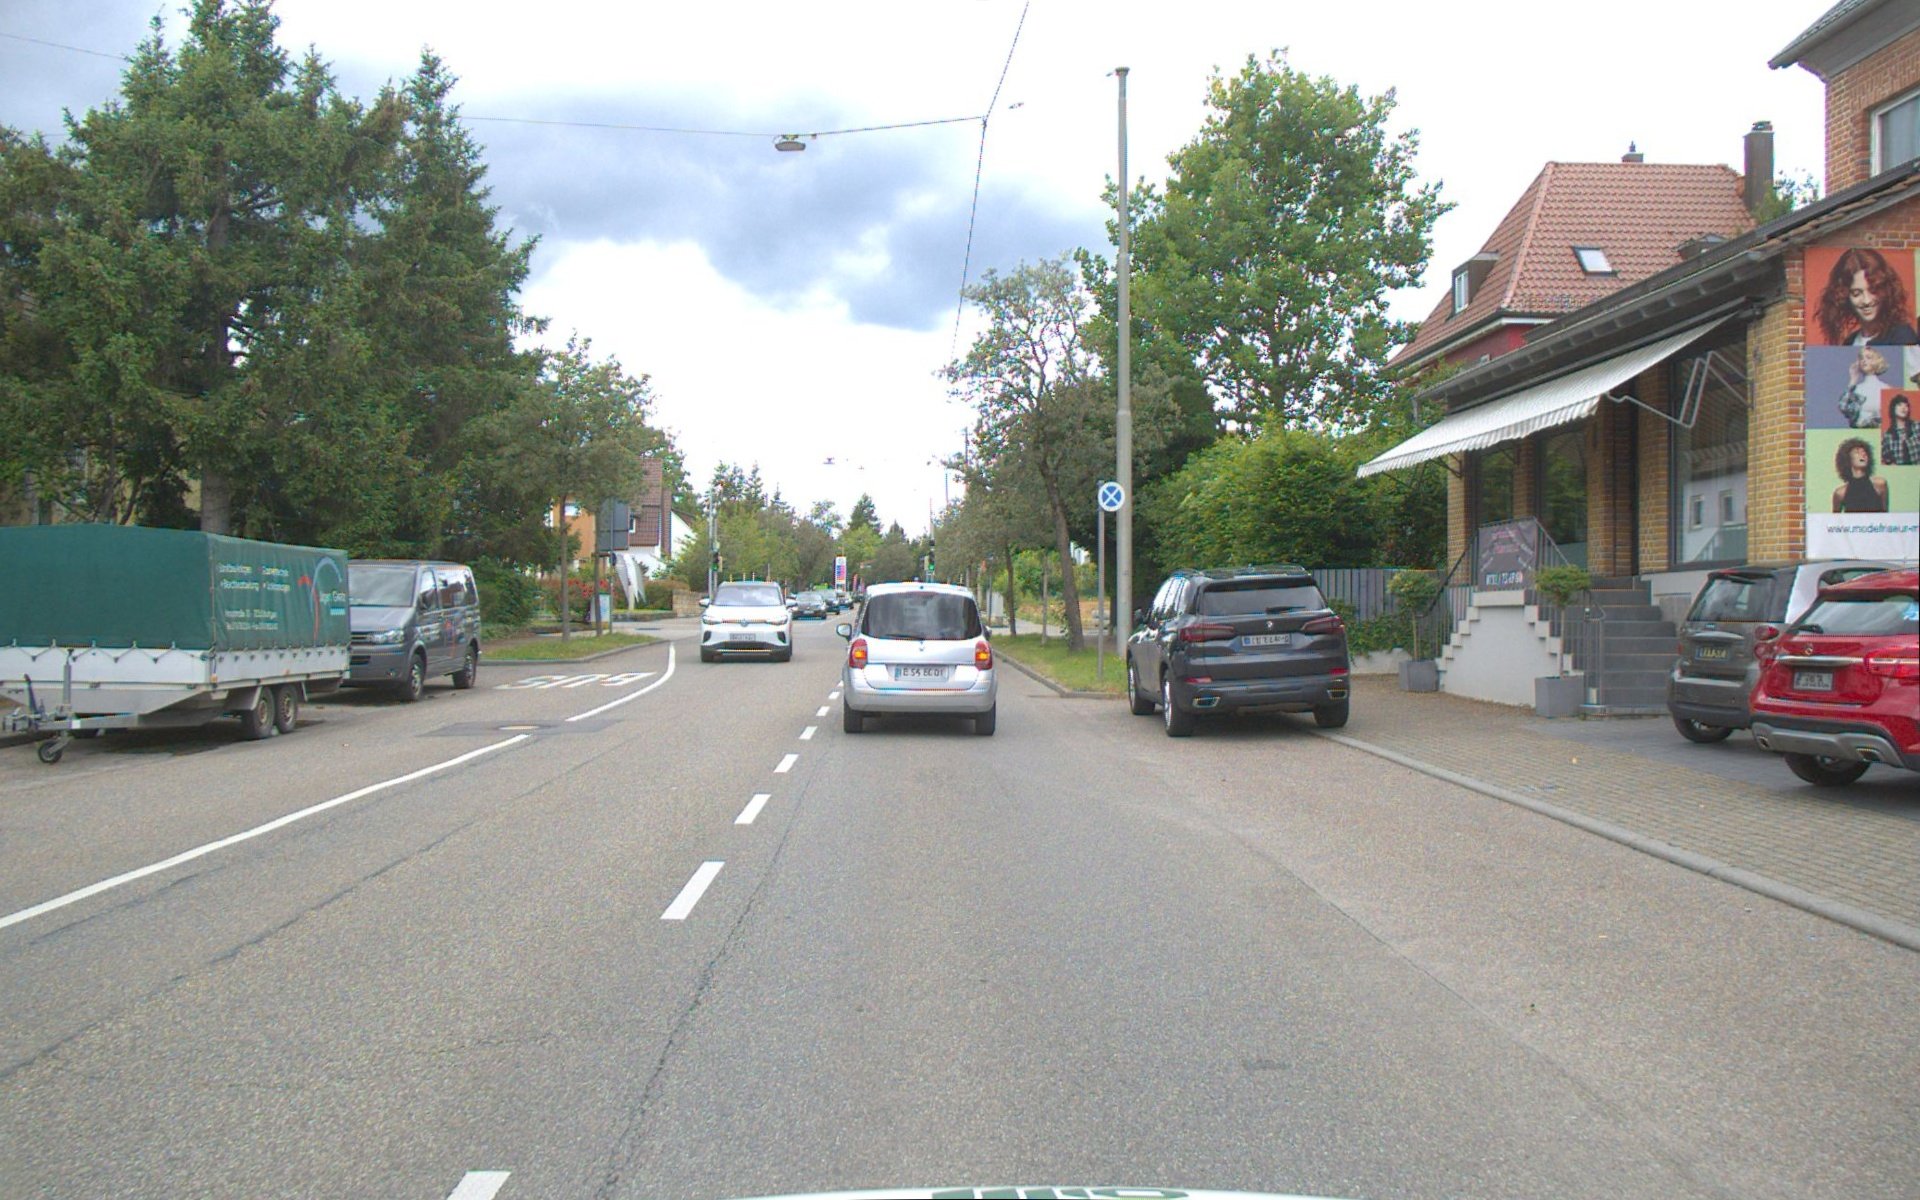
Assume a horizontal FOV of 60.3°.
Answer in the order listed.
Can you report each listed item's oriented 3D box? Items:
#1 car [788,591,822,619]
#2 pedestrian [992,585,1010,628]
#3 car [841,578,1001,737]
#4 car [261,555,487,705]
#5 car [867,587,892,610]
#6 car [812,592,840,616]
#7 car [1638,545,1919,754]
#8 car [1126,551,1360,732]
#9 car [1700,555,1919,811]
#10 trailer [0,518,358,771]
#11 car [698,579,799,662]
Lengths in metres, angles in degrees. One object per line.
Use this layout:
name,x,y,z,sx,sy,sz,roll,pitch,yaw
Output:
car,-8.196,0.280,87.597,1.688,1.436,3.996,1,-1,-5
pedestrian,1.644,0.260,66.375,0.691,1.675,0.773,-1,0,-2
car,-0.420,0.597,18.745,1.597,1.584,3.999,1,-1,-1
car,-8.432,0.419,24.262,1.850,1.956,4.559,1,-1,-3
car,-6.097,-0.097,125.065,1.792,1.705,3.573,0,0,-1
car,-8.521,0.259,105.209,1.688,1.436,3.996,1,-1,-5
car,8.201,0.339,14.501,3.912,1.587,1.500,-3,1,-8
car,3.050,0.430,18.637,1.776,1.773,3.998,-1,0,-2
car,7.461,0.418,11.424,3.915,1.522,1.806,-3,1,-10
trailer,-8.244,0.388,16.882,2.266,2.123,5.869,1,-1,-3
car,-4.410,0.430,34.970,1.868,1.646,3.996,0,0,-4
